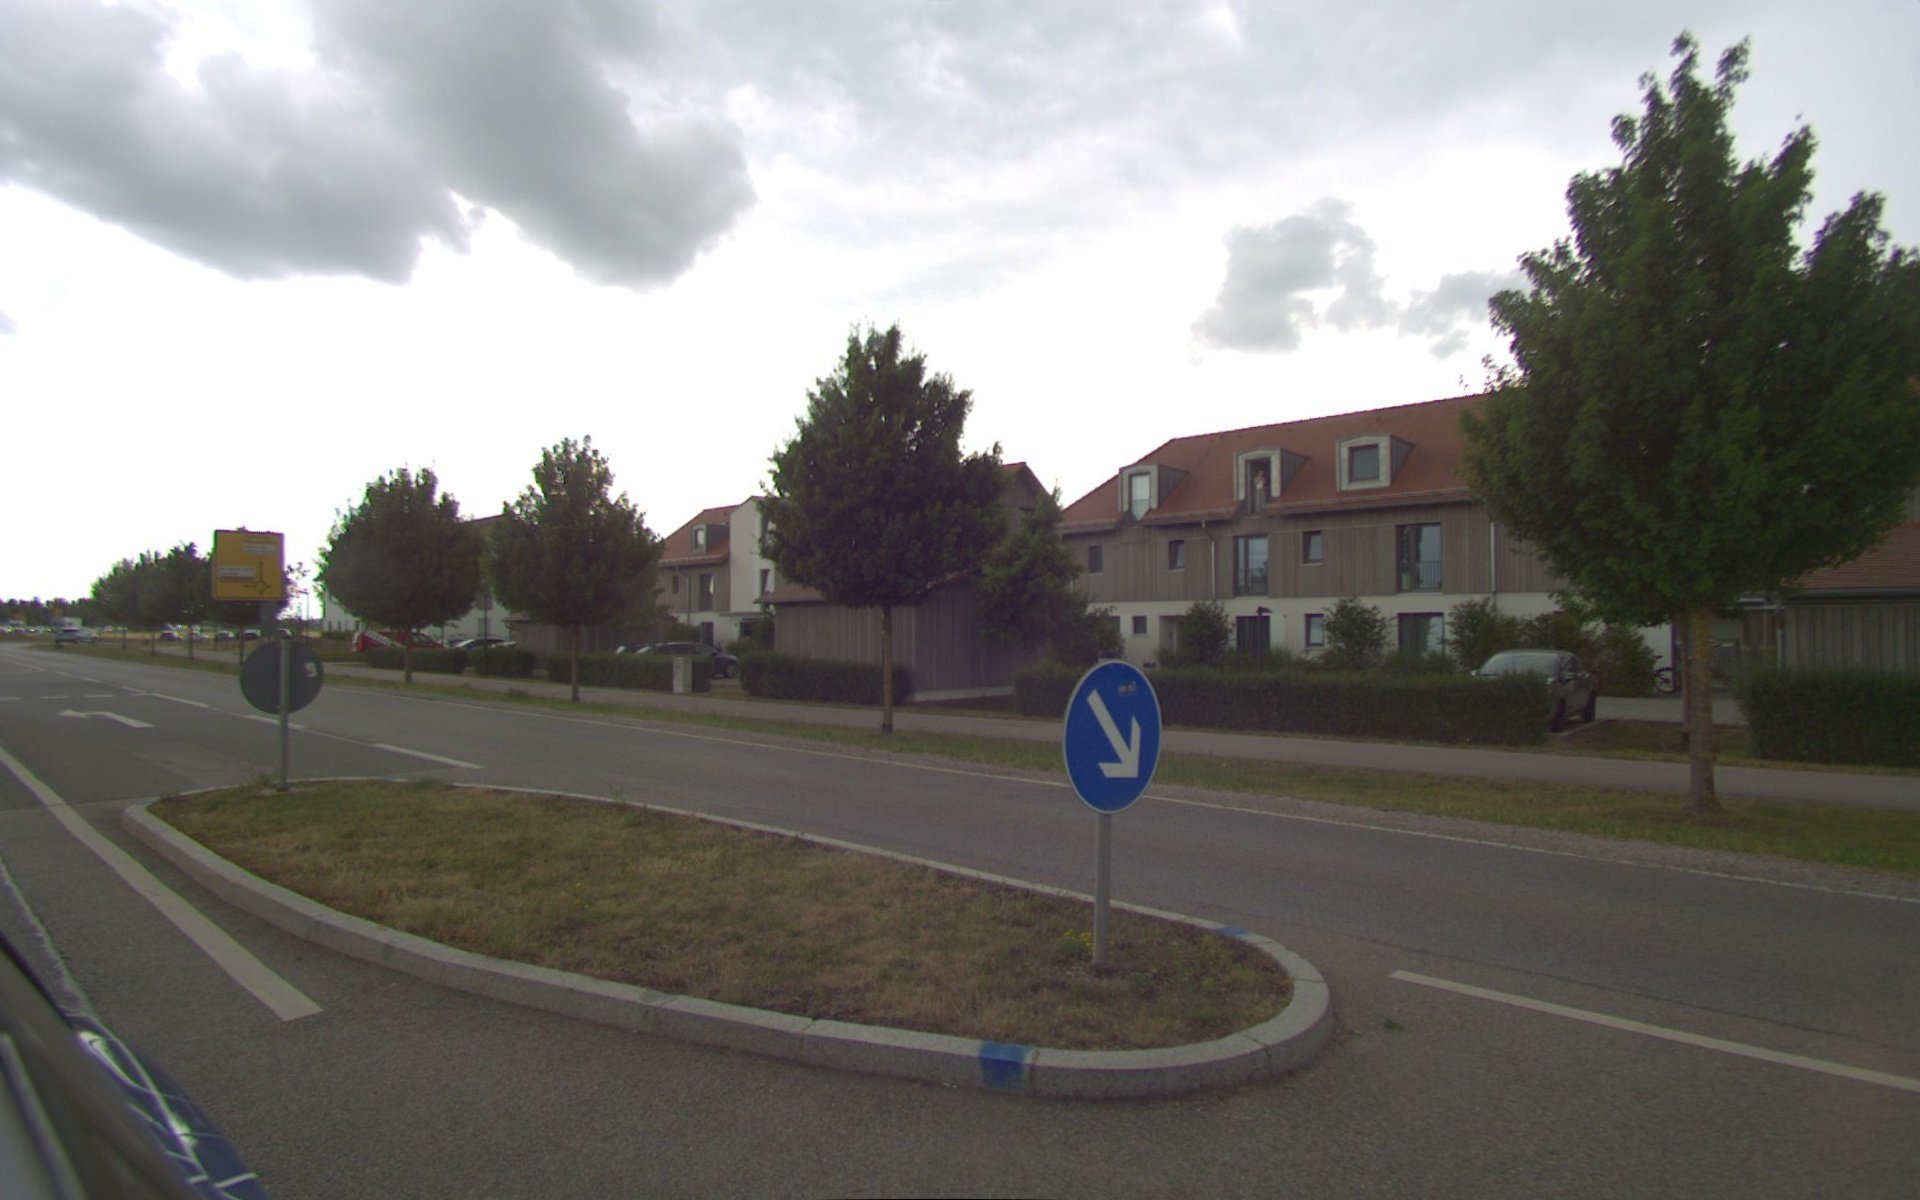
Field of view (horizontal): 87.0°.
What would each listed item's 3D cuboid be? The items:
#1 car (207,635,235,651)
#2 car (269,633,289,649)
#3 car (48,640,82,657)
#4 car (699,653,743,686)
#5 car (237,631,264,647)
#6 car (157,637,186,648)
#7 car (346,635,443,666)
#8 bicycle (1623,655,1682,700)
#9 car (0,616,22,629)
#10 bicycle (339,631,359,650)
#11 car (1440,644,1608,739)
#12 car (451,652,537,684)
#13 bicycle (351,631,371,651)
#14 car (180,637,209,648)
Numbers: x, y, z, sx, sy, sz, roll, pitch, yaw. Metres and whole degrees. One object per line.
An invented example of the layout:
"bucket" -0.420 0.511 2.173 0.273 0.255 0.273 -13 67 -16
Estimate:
"car" -94.443 5.545 129.397 1.965 2.029 4.013 2 -4 -24
"car" -88.325 5.317 131.285 1.966 2.029 4.011 3 -4 -33
"car" -80.365 4.358 90.830 3.999 1.455 1.751 -2 -5 42
"car" -9.850 2.844 41.612 1.633 1.254 4.010 2 -3 -14
"car" -91.280 5.064 130.259 1.965 2.029 4.013 2 -4 -24
"car" -99.239 5.350 127.404 1.965 1.298 4.013 2 -4 -24
"car" -34.752 3.132 62.328 4.847 1.830 1.908 4 -5 -43
"bicycle" 18.732 2.086 27.385 1.270 1.154 0.357 -2 -5 42
"car" -112.861 2.721 120.175 3.999 1.455 1.751 -2 -5 42
"bicycle" -46.697 3.111 77.287 2.094 1.428 0.675 -2 -5 42
"car" 11.213 1.705 20.000 2.000 1.568 3.943 -2 -2 43
"car" -22.960 3.350 49.947 1.563 1.501 3.477 -2 -5 41
"bicycle" -46.137 3.160 77.956 2.094 1.439 0.675 -2 -5 42
"car" -97.050 5.454 128.375 1.965 1.298 4.013 2 -4 -24
